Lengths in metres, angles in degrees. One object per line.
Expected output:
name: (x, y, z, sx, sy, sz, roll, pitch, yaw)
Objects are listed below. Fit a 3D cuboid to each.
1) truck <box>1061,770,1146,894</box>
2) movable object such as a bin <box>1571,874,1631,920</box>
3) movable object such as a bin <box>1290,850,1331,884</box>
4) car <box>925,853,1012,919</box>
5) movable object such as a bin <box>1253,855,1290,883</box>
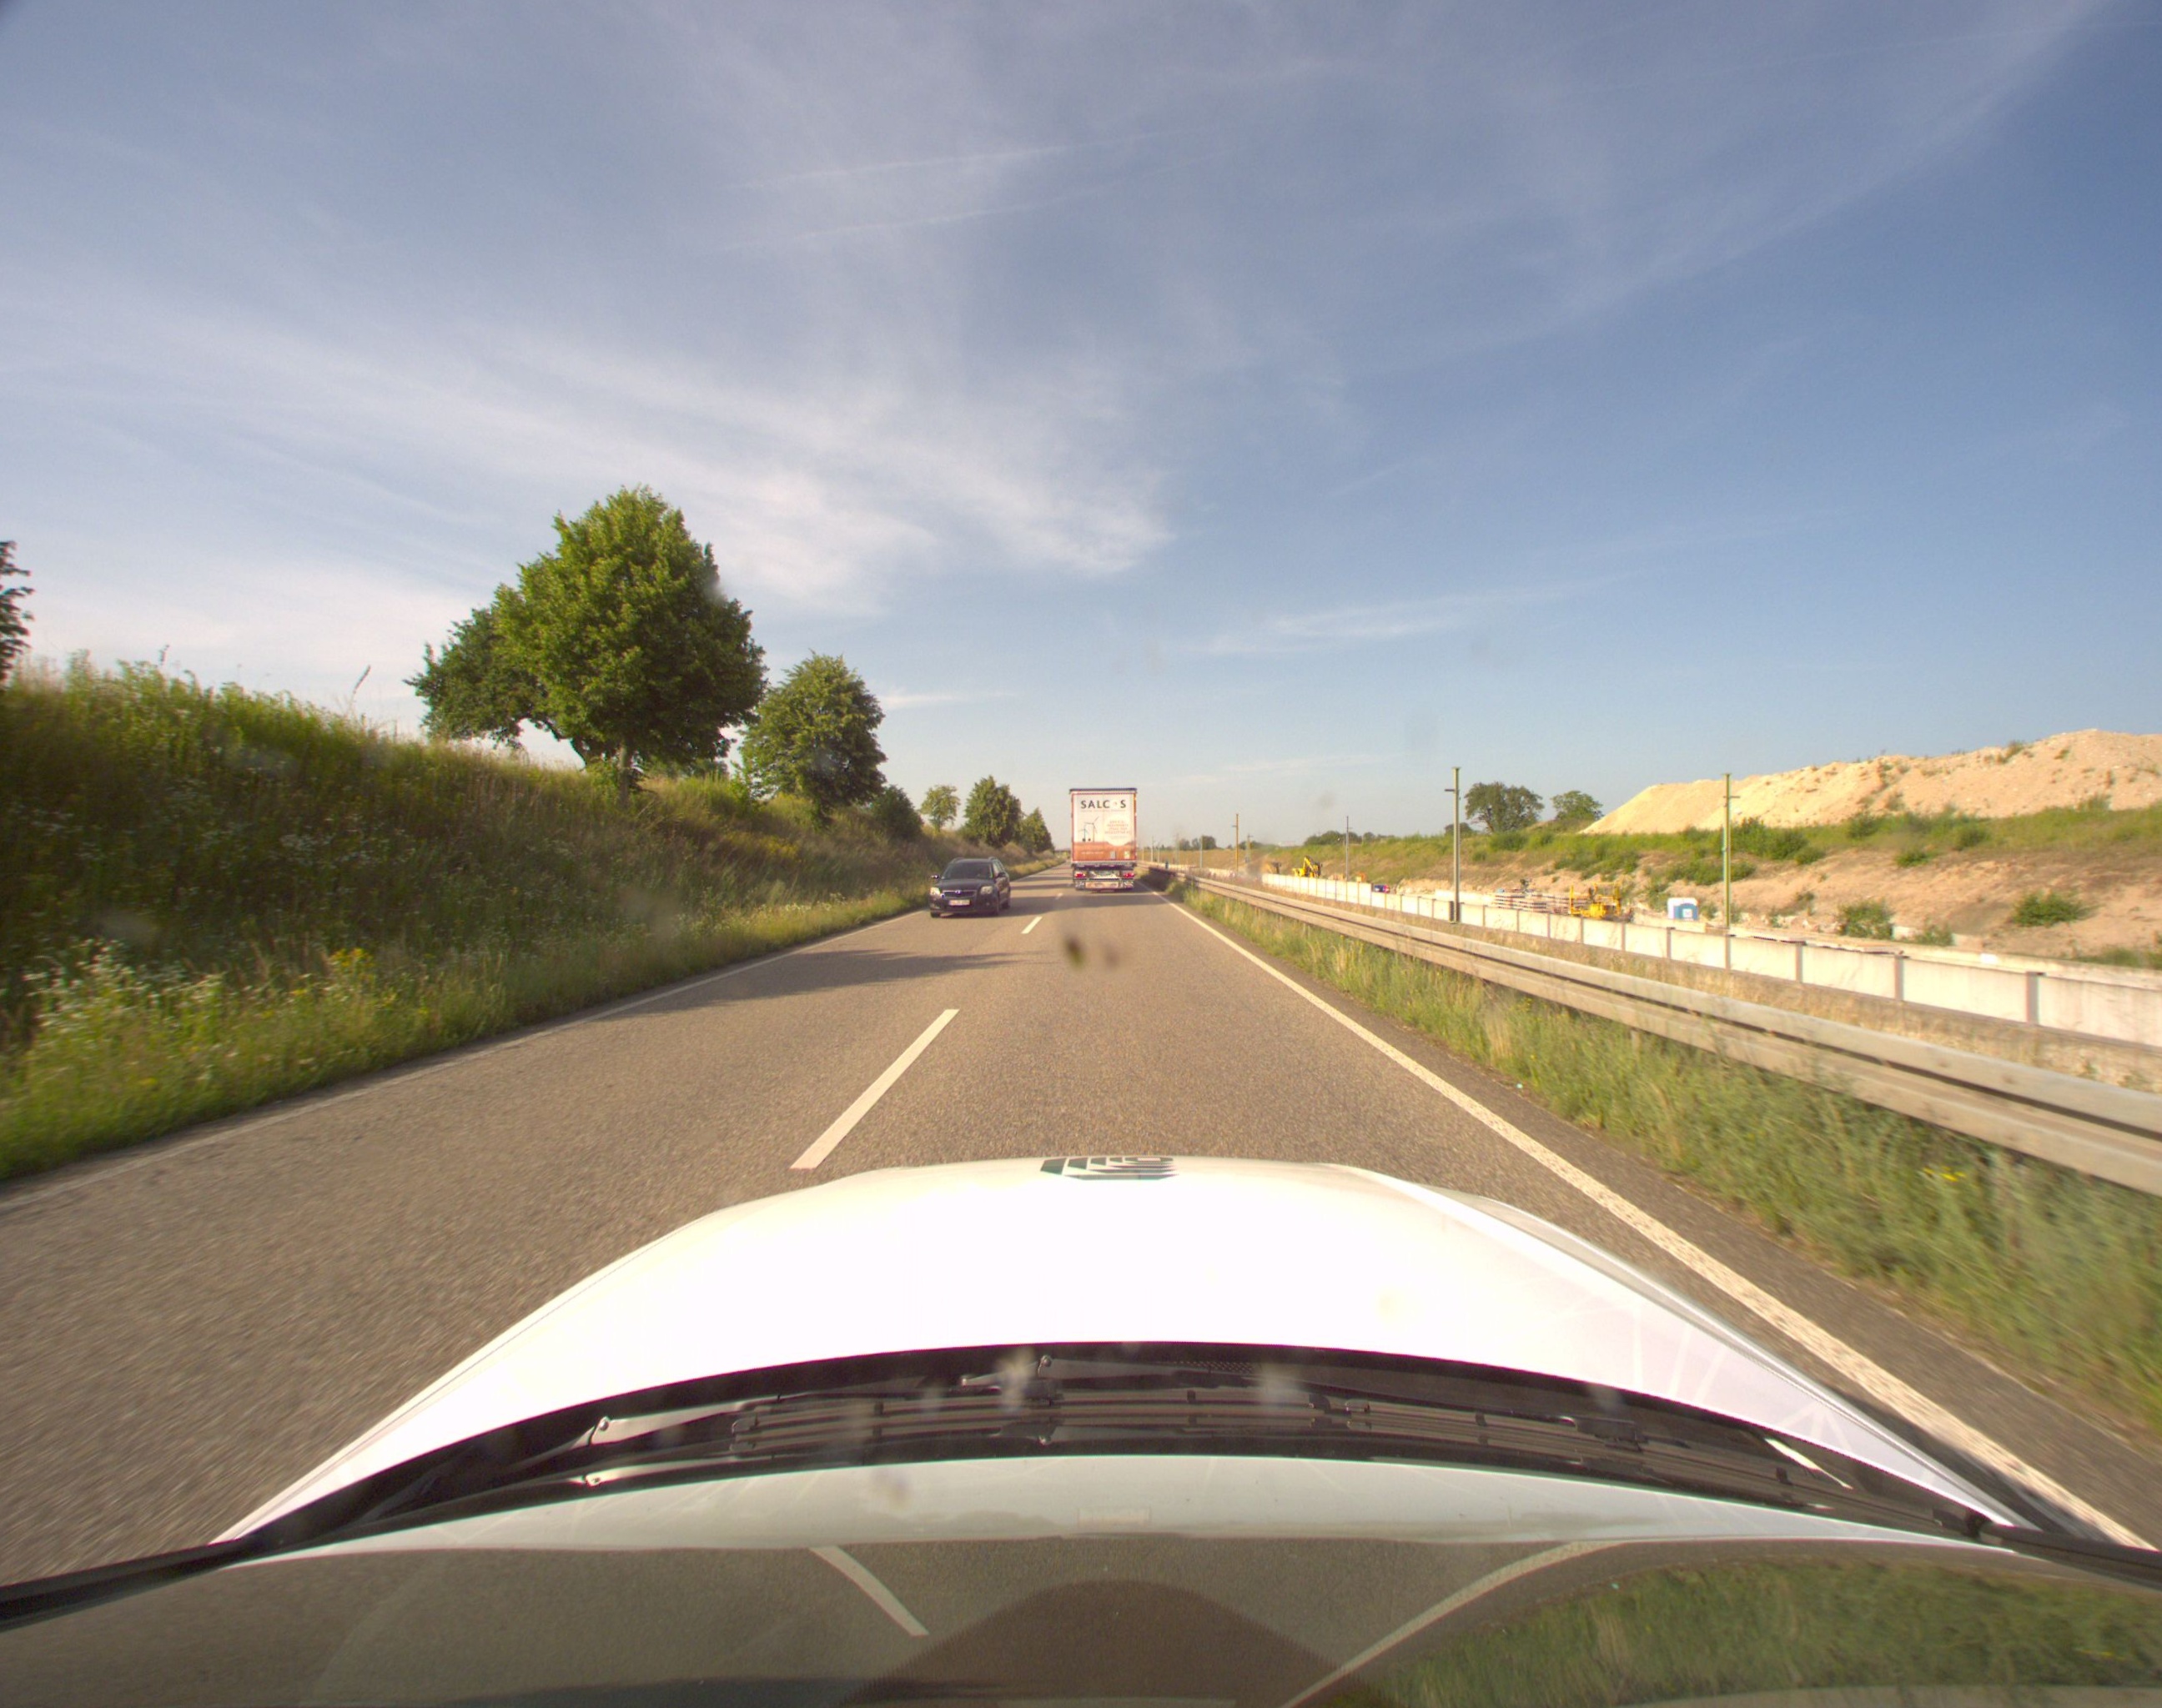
truck: (0.982, -0.864, 35.533, 3.141, 4.688, 8.444, -1, 0, 1)
movable object such as a bin: (31.897, 2.608, 50.080, 2.877, 2.661, 2.031, -1, 0, 26)
movable object such as a bin: (27.512, 1.457, 97.882, 2.787, 3.886, 7.537, -1, 0, 0)
car: (-2.926, 0.770, 22.045, 1.738, 1.546, 4.311, -2, 0, 0)
movable object such as a bin: (23.064, 1.758, 99.100, 2.613, 3.239, 8.073, -1, 0, 0)
